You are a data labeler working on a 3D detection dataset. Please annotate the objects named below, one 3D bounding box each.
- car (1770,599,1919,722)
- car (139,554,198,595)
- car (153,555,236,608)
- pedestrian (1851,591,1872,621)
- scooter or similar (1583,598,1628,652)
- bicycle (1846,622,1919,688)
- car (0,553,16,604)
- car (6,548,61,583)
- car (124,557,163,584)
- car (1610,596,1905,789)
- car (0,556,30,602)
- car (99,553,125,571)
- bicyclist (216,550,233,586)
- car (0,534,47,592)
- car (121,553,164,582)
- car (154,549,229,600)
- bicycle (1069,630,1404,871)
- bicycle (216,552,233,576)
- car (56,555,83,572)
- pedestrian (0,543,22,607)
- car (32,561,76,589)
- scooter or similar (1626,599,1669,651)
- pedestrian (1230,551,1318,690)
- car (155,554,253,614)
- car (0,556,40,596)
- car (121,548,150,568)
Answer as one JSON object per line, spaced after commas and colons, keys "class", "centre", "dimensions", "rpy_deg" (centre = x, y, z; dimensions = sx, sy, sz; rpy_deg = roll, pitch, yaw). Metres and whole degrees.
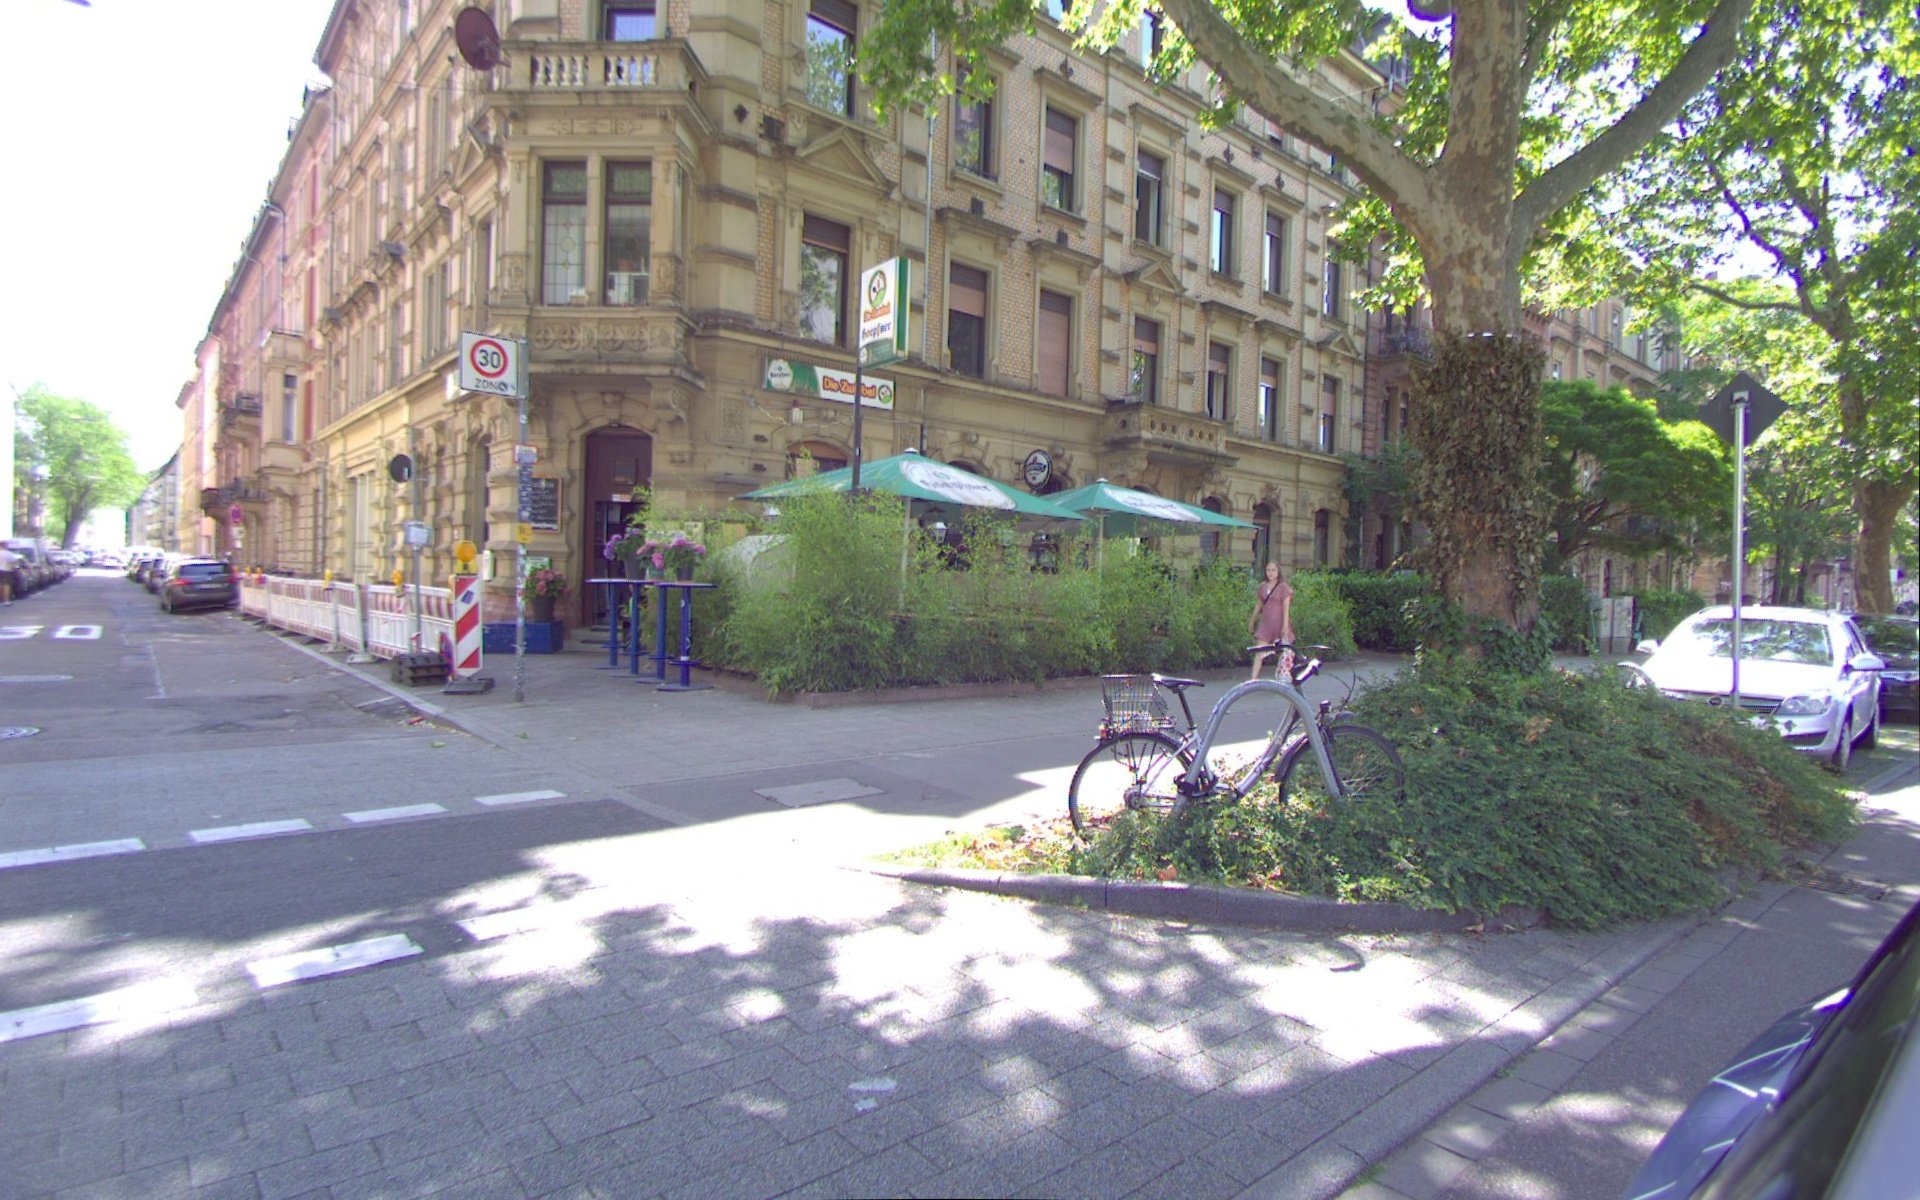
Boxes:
{"class": "car", "centre": [13.683, 0.797, 14.940], "dimensions": [4.561, 1.527, 1.837], "rpy_deg": [1, 2, -40]}
{"class": "car", "centre": [-36.416, -1.188, 46.520], "dimensions": [1.965, 1.760, 3.995], "rpy_deg": [1, 1, -41]}
{"class": "car", "centre": [-25.494, -0.630, 33.661], "dimensions": [1.965, 1.660, 3.995], "rpy_deg": [1, 1, -41]}
{"class": "pedestrian", "centre": [54.108, 0.375, 60.767], "dimensions": [0.951, 1.740, 0.796], "rpy_deg": [1, 1, -41]}
{"class": "scooter or similar", "centre": [15.652, 0.601, 24.532], "dimensions": [1.124, 1.263, 0.583], "rpy_deg": [1, 1, -40]}
{"class": "bicycle", "centre": [16.680, 0.975, 17.755], "dimensions": [1.615, 1.102, 0.469], "rpy_deg": [2, 1, 17]}
{"class": "car", "centre": [-30.914, -0.724, 31.789], "dimensions": [1.698, 1.548, 3.490], "rpy_deg": [1, 1, -41]}
{"class": "car", "centre": [-48.670, -1.810, 53.234], "dimensions": [1.879, 1.731, 4.159], "rpy_deg": [1, 1, -39]}
{"class": "car", "centre": [-56.151, -2.067, 69.598], "dimensions": [1.965, 1.760, 3.995], "rpy_deg": [1, 1, -41]}
{"class": "car", "centre": [8.462, 0.773, 10.579], "dimensions": [4.418, 1.527, 1.835], "rpy_deg": [0, 2, -44]}
{"class": "car", "centre": [-34.384, -0.782, 36.077], "dimensions": [1.698, 1.548, 3.490], "rpy_deg": [1, 1, -42]}
{"class": "car", "centre": [-86.736, -3.912, 103.461], "dimensions": [1.965, 1.760, 3.995], "rpy_deg": [1, 1, -41]}
{"class": "bicyclist", "centre": [-30.231, -1.315, 41.589], "dimensions": [0.523, 1.471, 0.460], "rpy_deg": [1, 1, -38]}
{"class": "car", "centre": [-41.573, -1.629, 44.463], "dimensions": [1.879, 2.403, 4.244], "rpy_deg": [1, 1, -39]}
{"class": "car", "centre": [-51.161, -2.035, 63.334], "dimensions": [1.965, 1.760, 3.995], "rpy_deg": [1, 1, -41]}
{"class": "car", "centre": [-28.492, -0.952, 37.483], "dimensions": [1.965, 1.760, 3.995], "rpy_deg": [1, 1, -41]}
{"class": "bicycle", "centre": [1.391, 0.739, 5.137], "dimensions": [1.583, 1.119, 0.423], "rpy_deg": [1, 1, -10]}
{"class": "bicycle", "centre": [-30.178, -1.476, 41.529], "dimensions": [0.529, 0.991, 1.309], "rpy_deg": [1, 1, -37]}
{"class": "car", "centre": [-77.569, -3.159, 88.211], "dimensions": [1.641, 1.419, 3.357], "rpy_deg": [1, 1, -40]}
{"class": "pedestrian", "centre": [-27.658, -0.737, 29.151], "dimensions": [0.921, 1.821, 1.036], "rpy_deg": [0, 1, -44]}
{"class": "car", "centre": [-57.993, -1.613, 64.827], "dimensions": [1.879, 1.731, 4.159], "rpy_deg": [1, 1, -39]}
{"class": "scooter or similar", "centre": [17.773, 0.637, 26.165], "dimensions": [1.124, 1.298, 0.583], "rpy_deg": [1, 1, -39]}
{"class": "pedestrian", "centre": [4.272, 0.259, 13.773], "dimensions": [0.837, 1.807, 0.738], "rpy_deg": [1, 3, -41]}
{"class": "car", "centre": [-21.574, -0.492, 28.833], "dimensions": [1.965, 1.571, 3.995], "rpy_deg": [1, 1, -41]}
{"class": "car", "centre": [-38.191, -0.992, 40.704], "dimensions": [1.698, 1.548, 3.490], "rpy_deg": [1, 1, -41]}
{"class": "car", "centre": [-75.847, -3.865, 93.082], "dimensions": [1.965, 1.760, 3.995], "rpy_deg": [1, 1, -41]}
